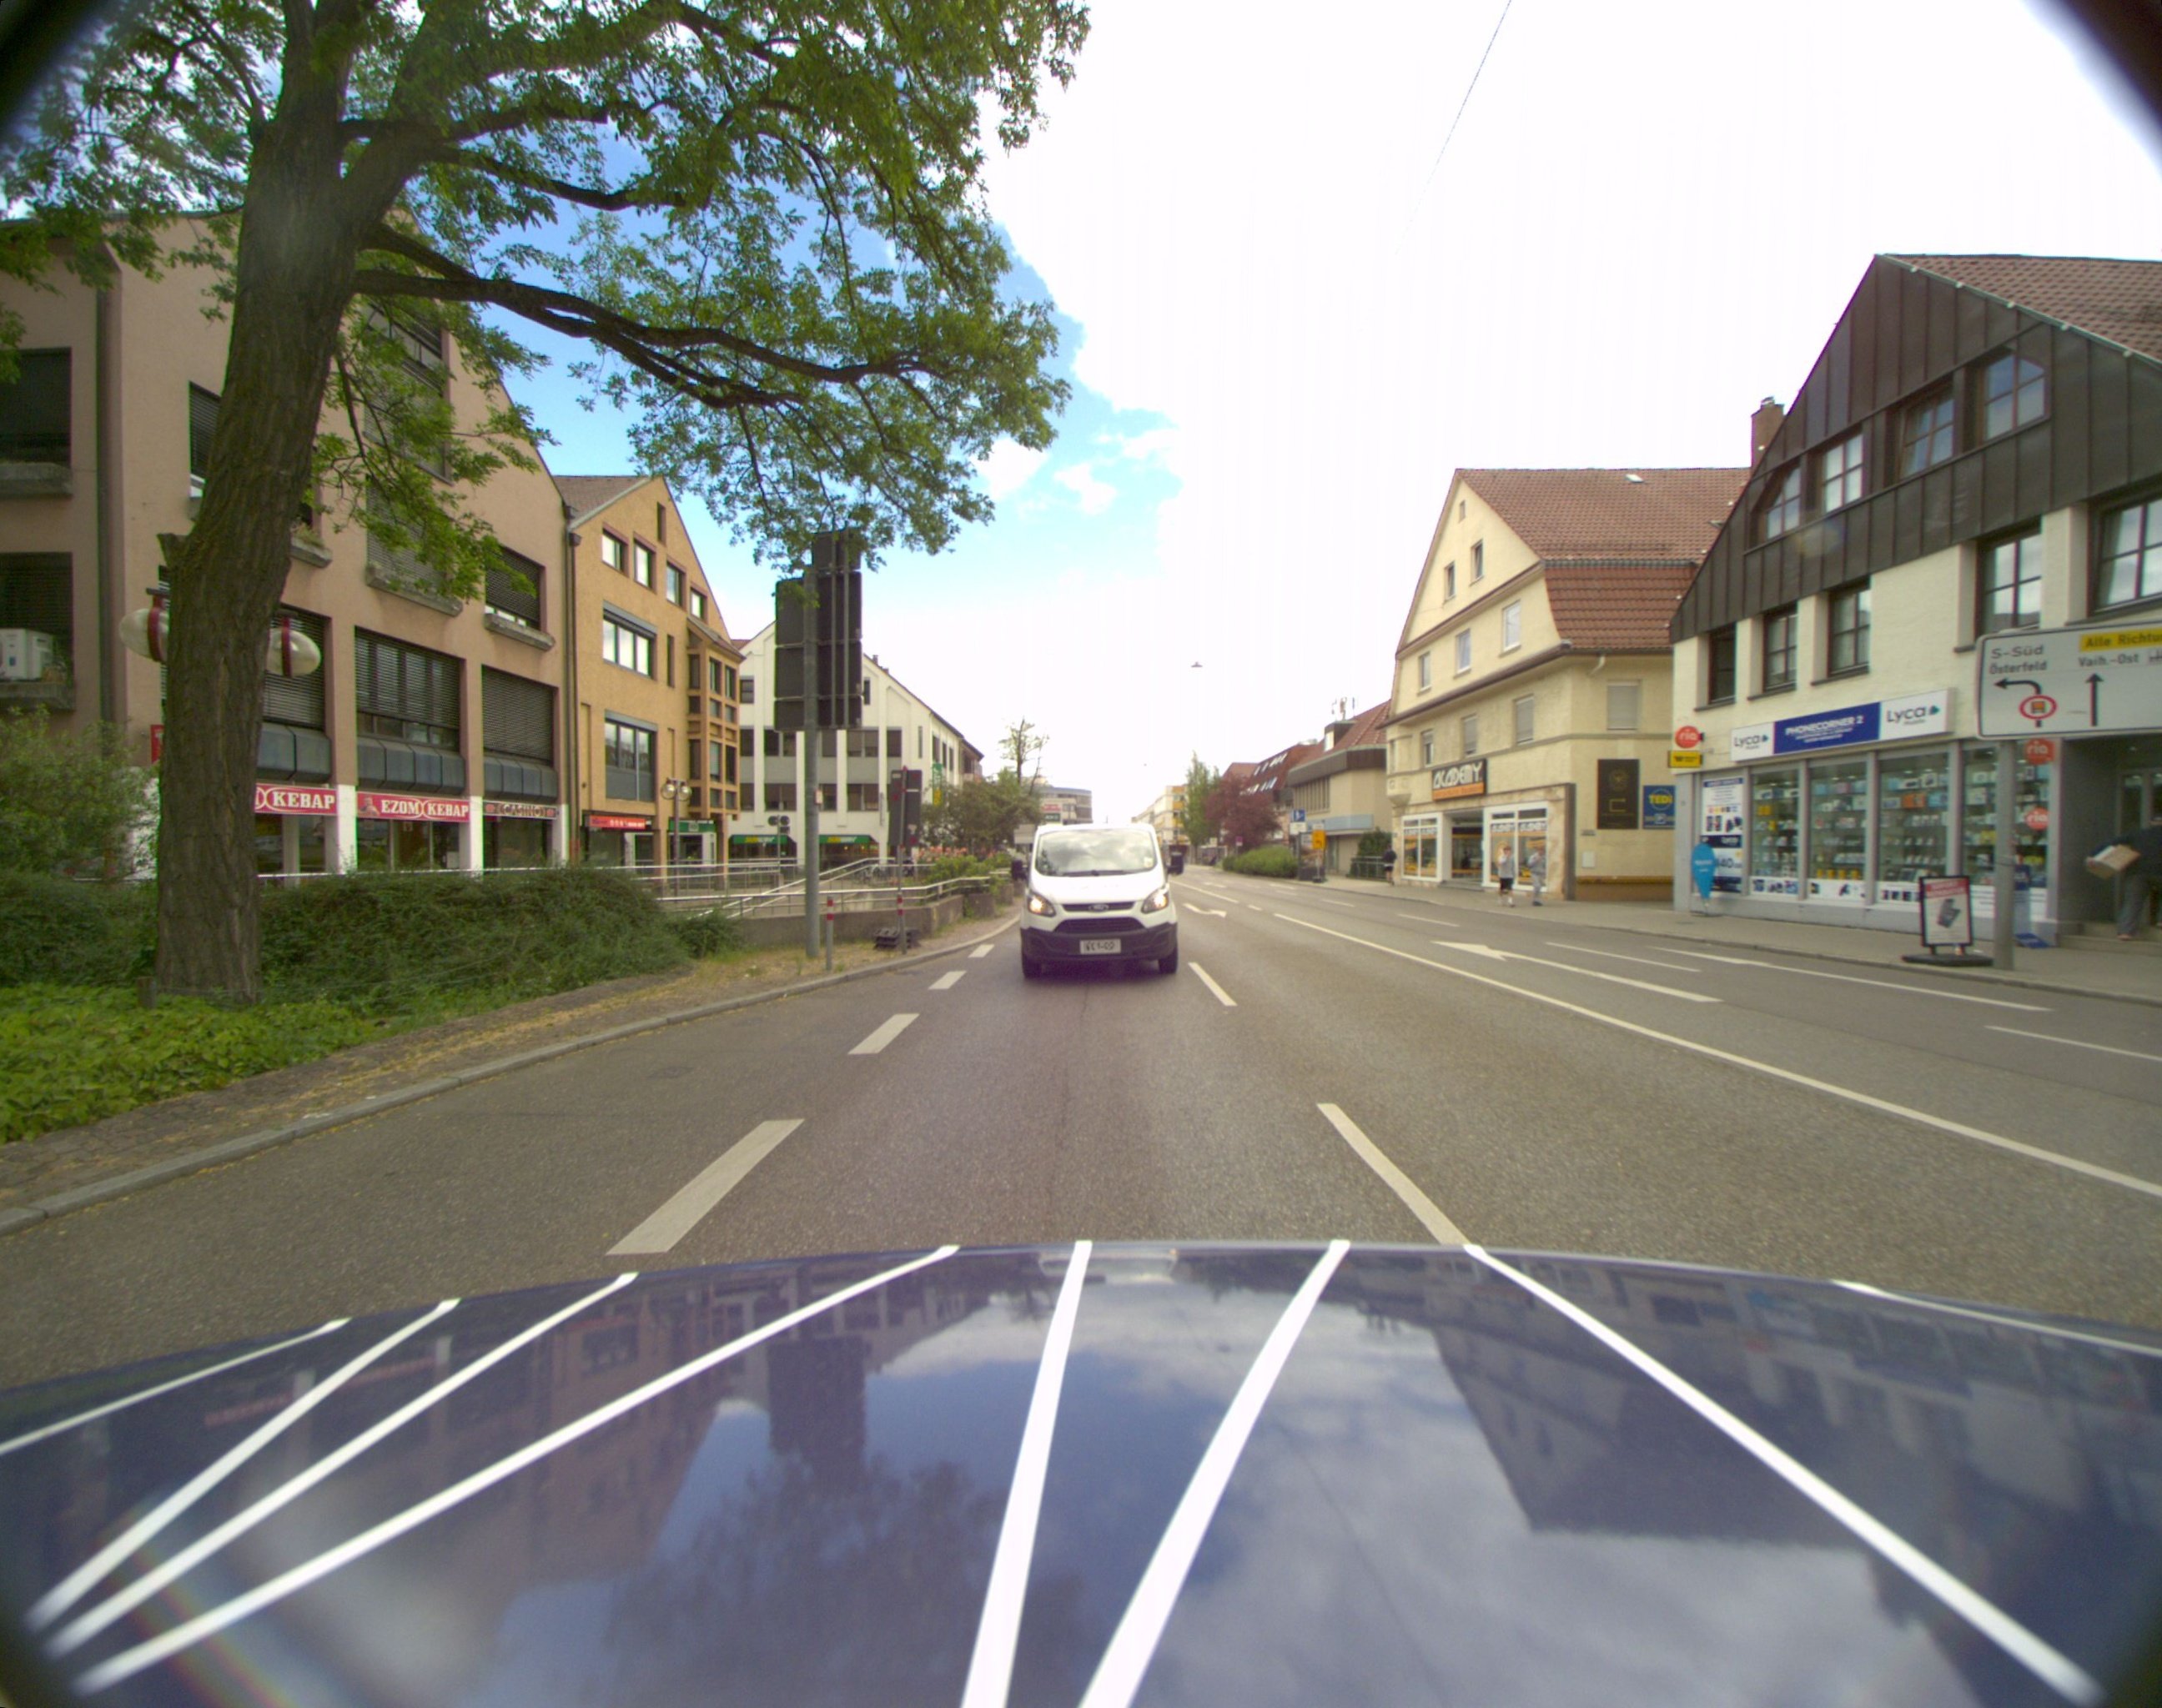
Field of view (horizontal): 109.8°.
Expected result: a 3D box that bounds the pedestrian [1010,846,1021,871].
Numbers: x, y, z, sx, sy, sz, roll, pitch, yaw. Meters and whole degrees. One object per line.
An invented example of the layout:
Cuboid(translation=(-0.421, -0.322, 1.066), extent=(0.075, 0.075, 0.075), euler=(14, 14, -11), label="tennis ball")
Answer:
Cuboid(translation=(-4.181, 0.289, 48.538), extent=(0.653, 1.568, 0.684), euler=(-1, 1, 1), label="pedestrian")

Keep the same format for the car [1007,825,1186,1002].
Cuboid(translation=(0.200, 0.654, 11.145), extent=(1.964, 1.948, 5.164), euler=(-2, 0, 1), label="car")

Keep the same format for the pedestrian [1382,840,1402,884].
Cuboid(translation=(13.556, 0.353, 33.139), extent=(0.551, 1.878, 0.592), euler=(-2, 1, -3), label="pedestrian")

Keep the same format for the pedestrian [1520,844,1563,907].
Cuboid(translation=(12.613, 0.584, 20.836), extent=(0.689, 1.660, 0.709), euler=(-3, 1, 1), label="pedestrian")

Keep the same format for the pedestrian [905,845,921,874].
Cuboid(translation=(-11.080, 0.352, 50.118), extent=(0.871, 1.812, 0.785), euler=(-2, 1, -3), label="pedestrian")

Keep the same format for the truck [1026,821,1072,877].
Cuboid(translation=(-2.055, -0.375, 51.943), extent=(2.446, 3.464, 8.347), euler=(-2, 1, 2), label="truck")

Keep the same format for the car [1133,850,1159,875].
Cuboid(translation=(5.167, 0.635, 61.174), extent=(1.748, 1.844, 4.634), euler=(-2, 0, 2), label="car")

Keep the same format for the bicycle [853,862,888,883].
Cuboid(translation=(-10.184, 0.887, 36.718), extent=(1.594, 0.996, 0.414), euler=(-1, 1, -12), label="bicycle")

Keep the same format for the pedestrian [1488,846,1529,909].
Cuboid(translation=(11.771, 0.629, 20.956), extent=(0.689, 1.680, 0.742), euler=(-2, 1, 1), label="pedestrian")

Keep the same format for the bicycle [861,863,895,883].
Cuboid(translation=(-10.027, 0.921, 37.563), extent=(1.594, 0.963, 0.461), euler=(-1, 1, -13), label="bicycle")

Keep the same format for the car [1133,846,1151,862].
Cuboid(translation=(7.460, 0.029, 93.397), extent=(1.957, 1.898, 4.321), euler=(0, 0, 0), label="car")

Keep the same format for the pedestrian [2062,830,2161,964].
Cuboid(translation=(13.969, 0.549, 10.151), extent=(0.688, 1.703, 0.775), euler=(-2, 1, 1), label="pedestrian")

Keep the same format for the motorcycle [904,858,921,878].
Cuboid(translation=(-9.553, 0.775, 43.023), extent=(0.464, 1.062, 1.995), euler=(0, 0, 1), label="motorcycle")

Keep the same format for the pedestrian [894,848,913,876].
Cuboid(translation=(-11.201, 0.510, 47.832), extent=(0.888, 1.747, 0.942), euler=(-1, 1, -32), label="pedestrian")
